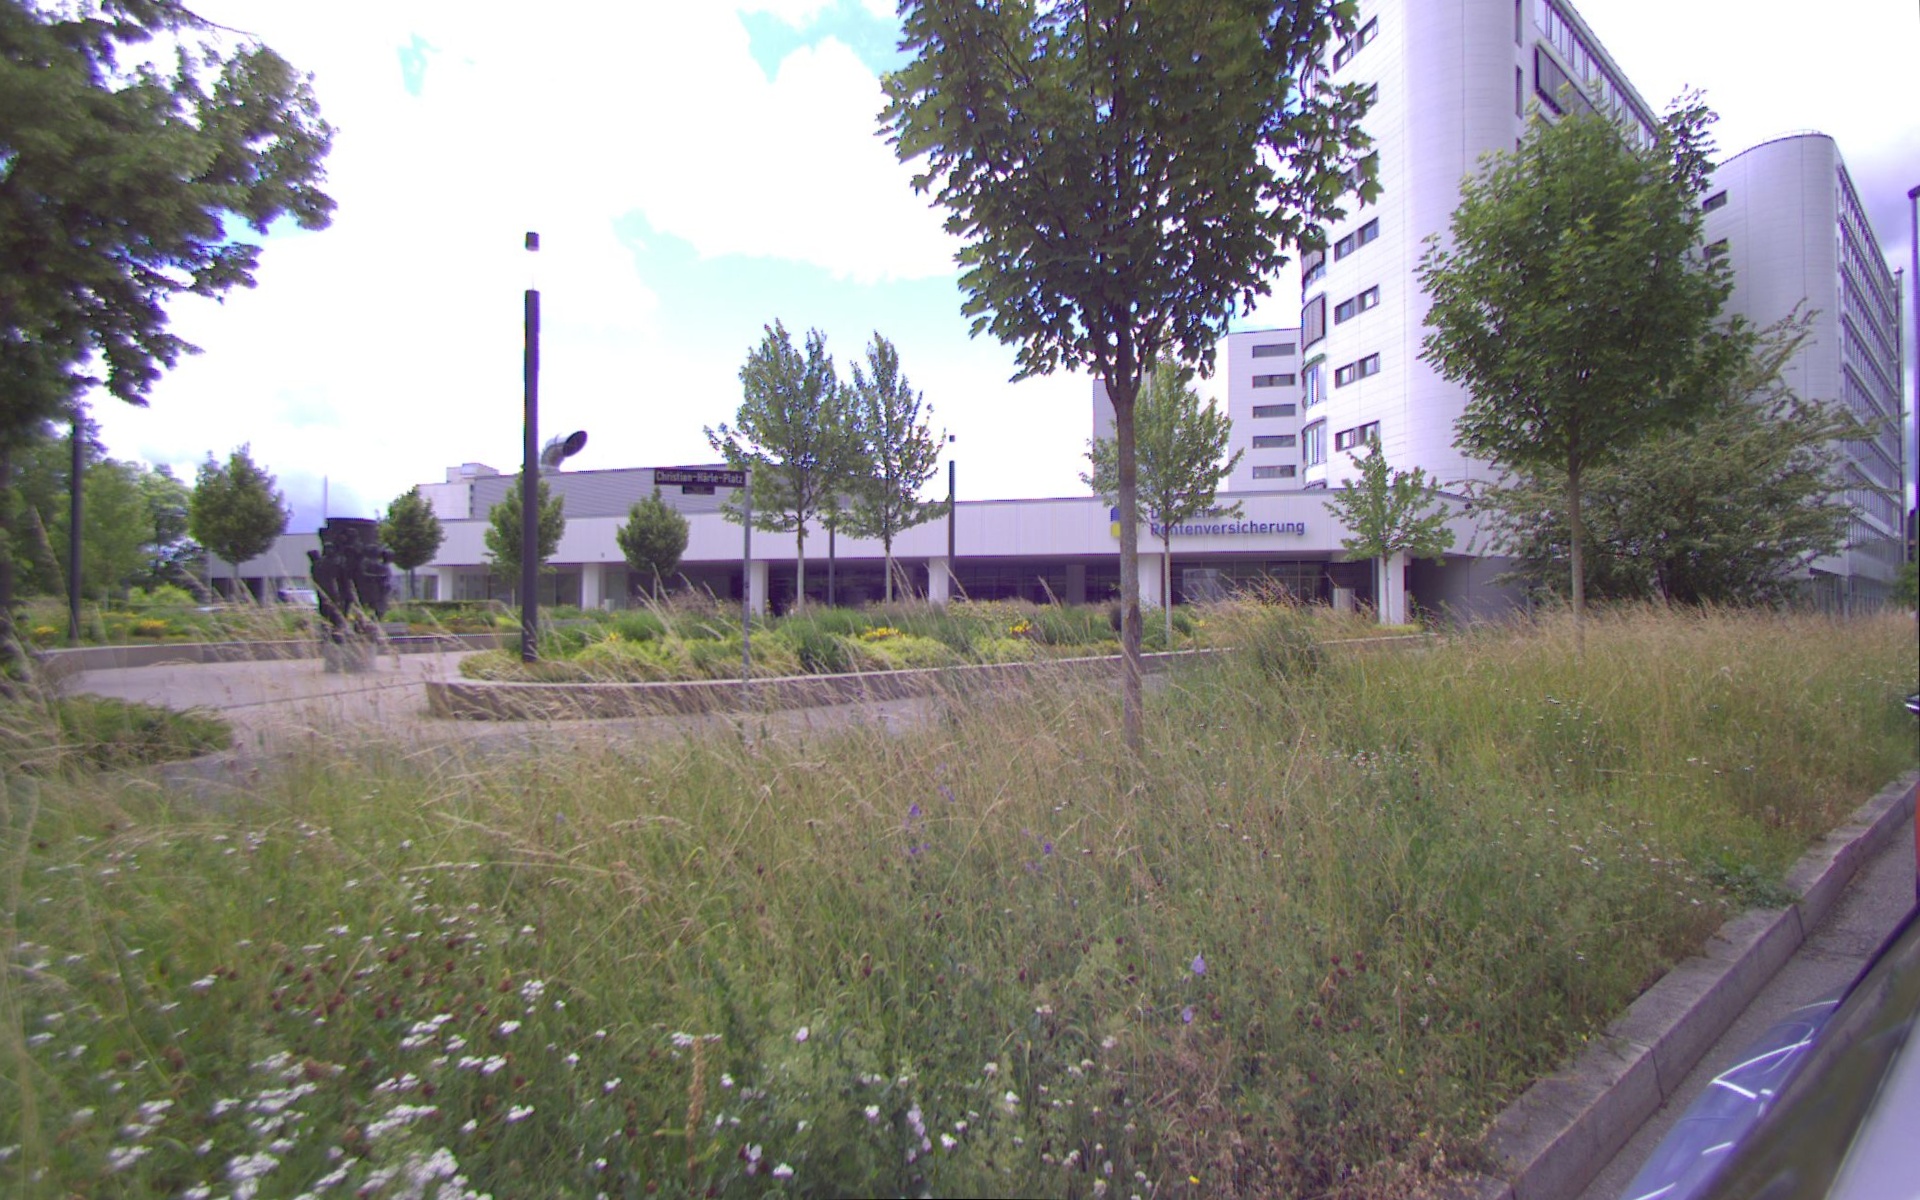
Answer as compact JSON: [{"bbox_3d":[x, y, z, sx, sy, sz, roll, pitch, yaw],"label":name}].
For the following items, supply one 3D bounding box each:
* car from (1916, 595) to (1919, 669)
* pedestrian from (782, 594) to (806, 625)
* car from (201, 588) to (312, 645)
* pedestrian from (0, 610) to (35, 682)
[{"bbox_3d":[22.622,0.706,22.481,3.386,1.594,1.736,0,0,-42],"label":"car"},{"bbox_3d":[-6.944,0.394,42.332,0.869,1.290,0.704,1,0,2],"label":"pedestrian"},{"bbox_3d":[-23.368,0.520,33.618,3.470,1.788,1.622,0,0,27],"label":"car"},{"bbox_3d":[-17.453,0.840,18.676,0.560,1.278,0.581,0,0,-43],"label":"pedestrian"}]
